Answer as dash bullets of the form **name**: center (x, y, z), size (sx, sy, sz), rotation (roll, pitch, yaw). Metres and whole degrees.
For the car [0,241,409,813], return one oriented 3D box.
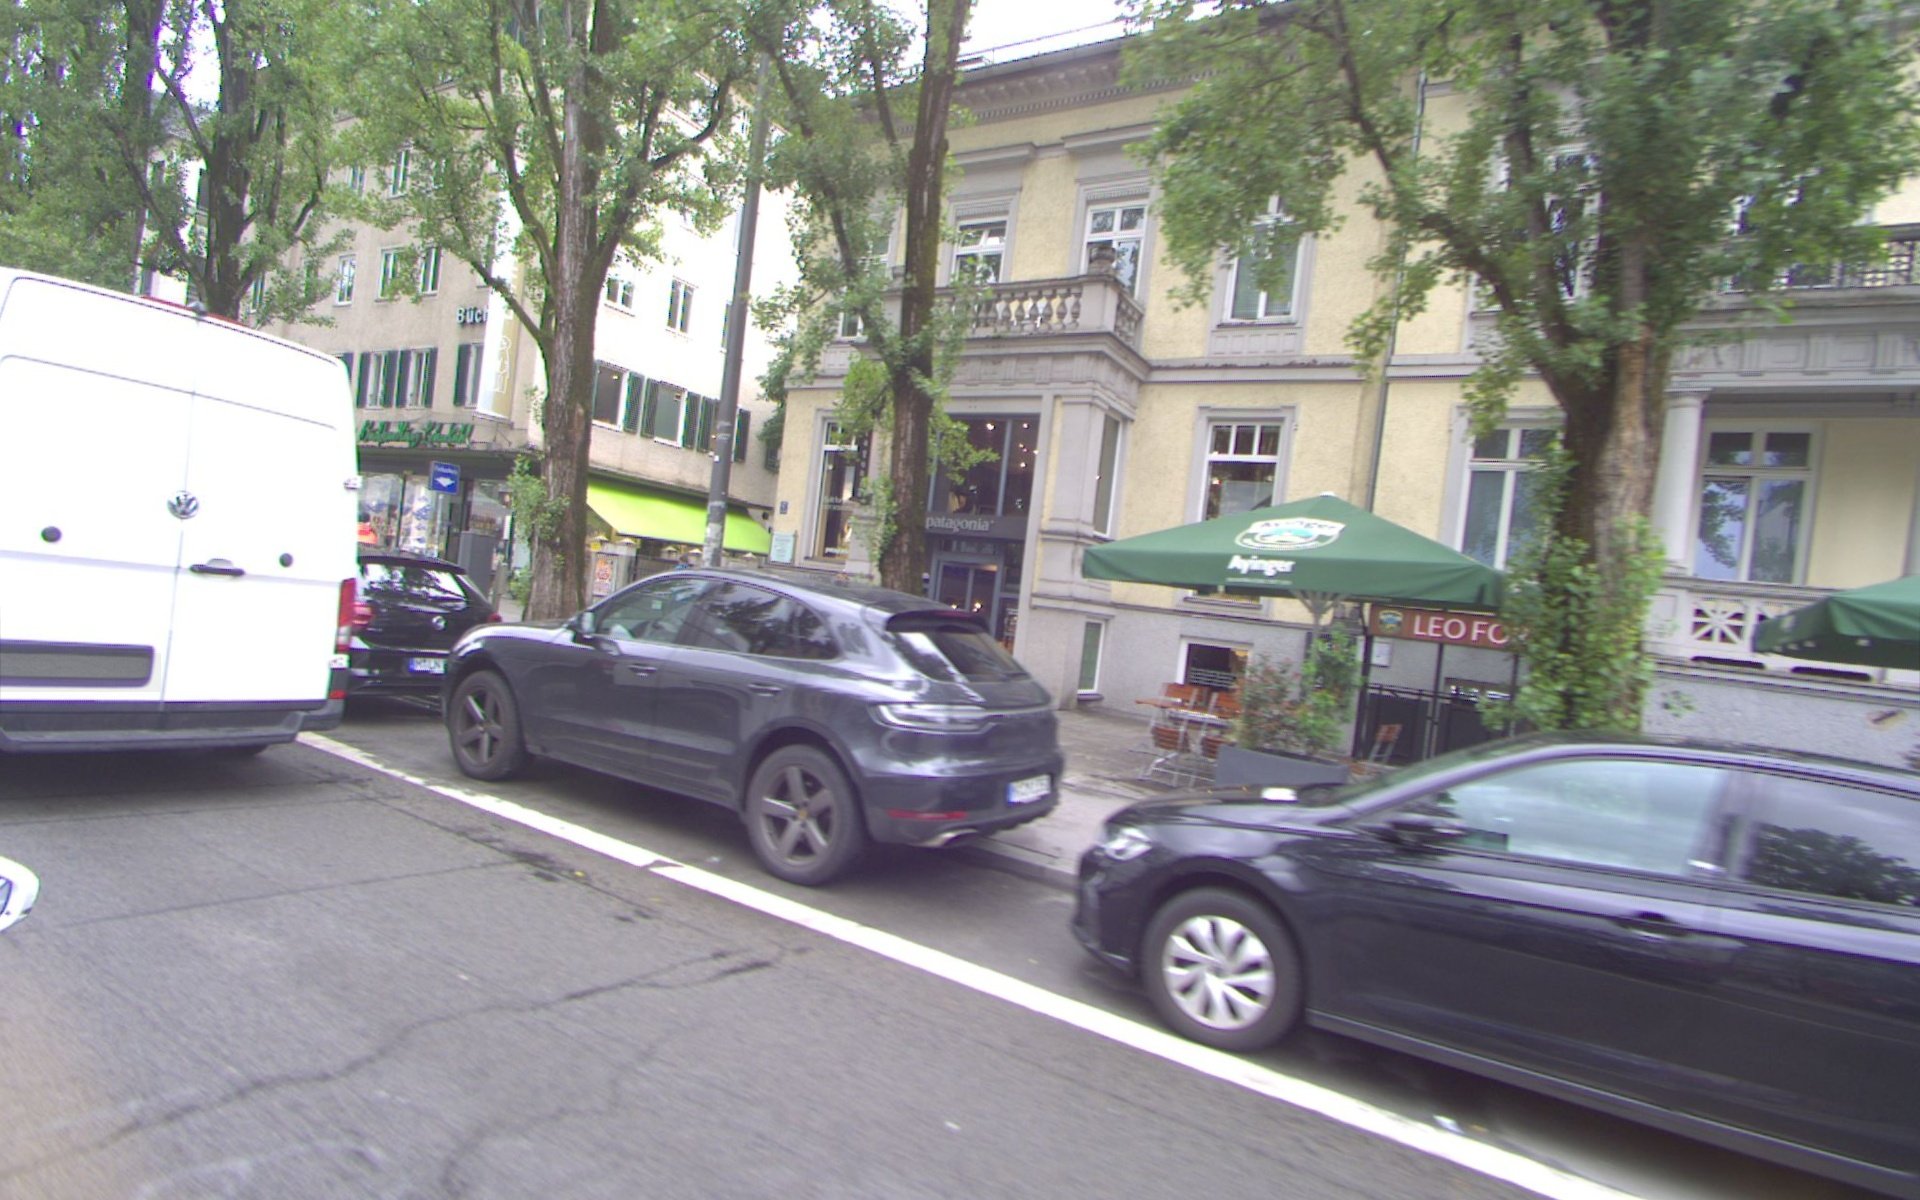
- **car**: center (-6.701, -0.587, 6.785), size (6.619, 2.522, 2.066), rotation (7, 0, 32)

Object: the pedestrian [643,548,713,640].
- **pedestrian**: center (-5.595, -0.108, 19.971), size (0.862, 1.698, 0.798), rotation (7, 1, 31)

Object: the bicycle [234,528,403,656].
- **bicycle**: center (-8.357, -0.121, 13.070), size (2.408, 1.366, 0.773), rotation (7, 1, 31)

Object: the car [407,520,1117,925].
- **car**: center (-1.424, 0.578, 6.674), size (4.372, 1.657, 1.807), rotation (7, -1, 30)

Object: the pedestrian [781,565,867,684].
- **pedestrian**: center (-2.087, 0.382, 15.511), size (0.861, 1.698, 0.800), rotation (7, 1, 21)

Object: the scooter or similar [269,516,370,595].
- **scooter or similar**: center (-13.853, -0.966, 21.720), size (2.451, 1.394, 0.637), rotation (8, 3, 28)

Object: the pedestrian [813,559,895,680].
- **pedestrian**: center (-1.701, 0.314, 16.264), size (0.861, 1.818, 0.774), rotation (7, 1, 20)

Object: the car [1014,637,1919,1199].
- **car**: center (2.393, 1.141, 4.013), size (3.884, 1.434, 1.697), rotation (7, 0, 30)

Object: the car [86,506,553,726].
- **car**: center (-6.073, 0.100, 9.457), size (4.268, 1.410, 1.714), rotation (7, -1, 28)
